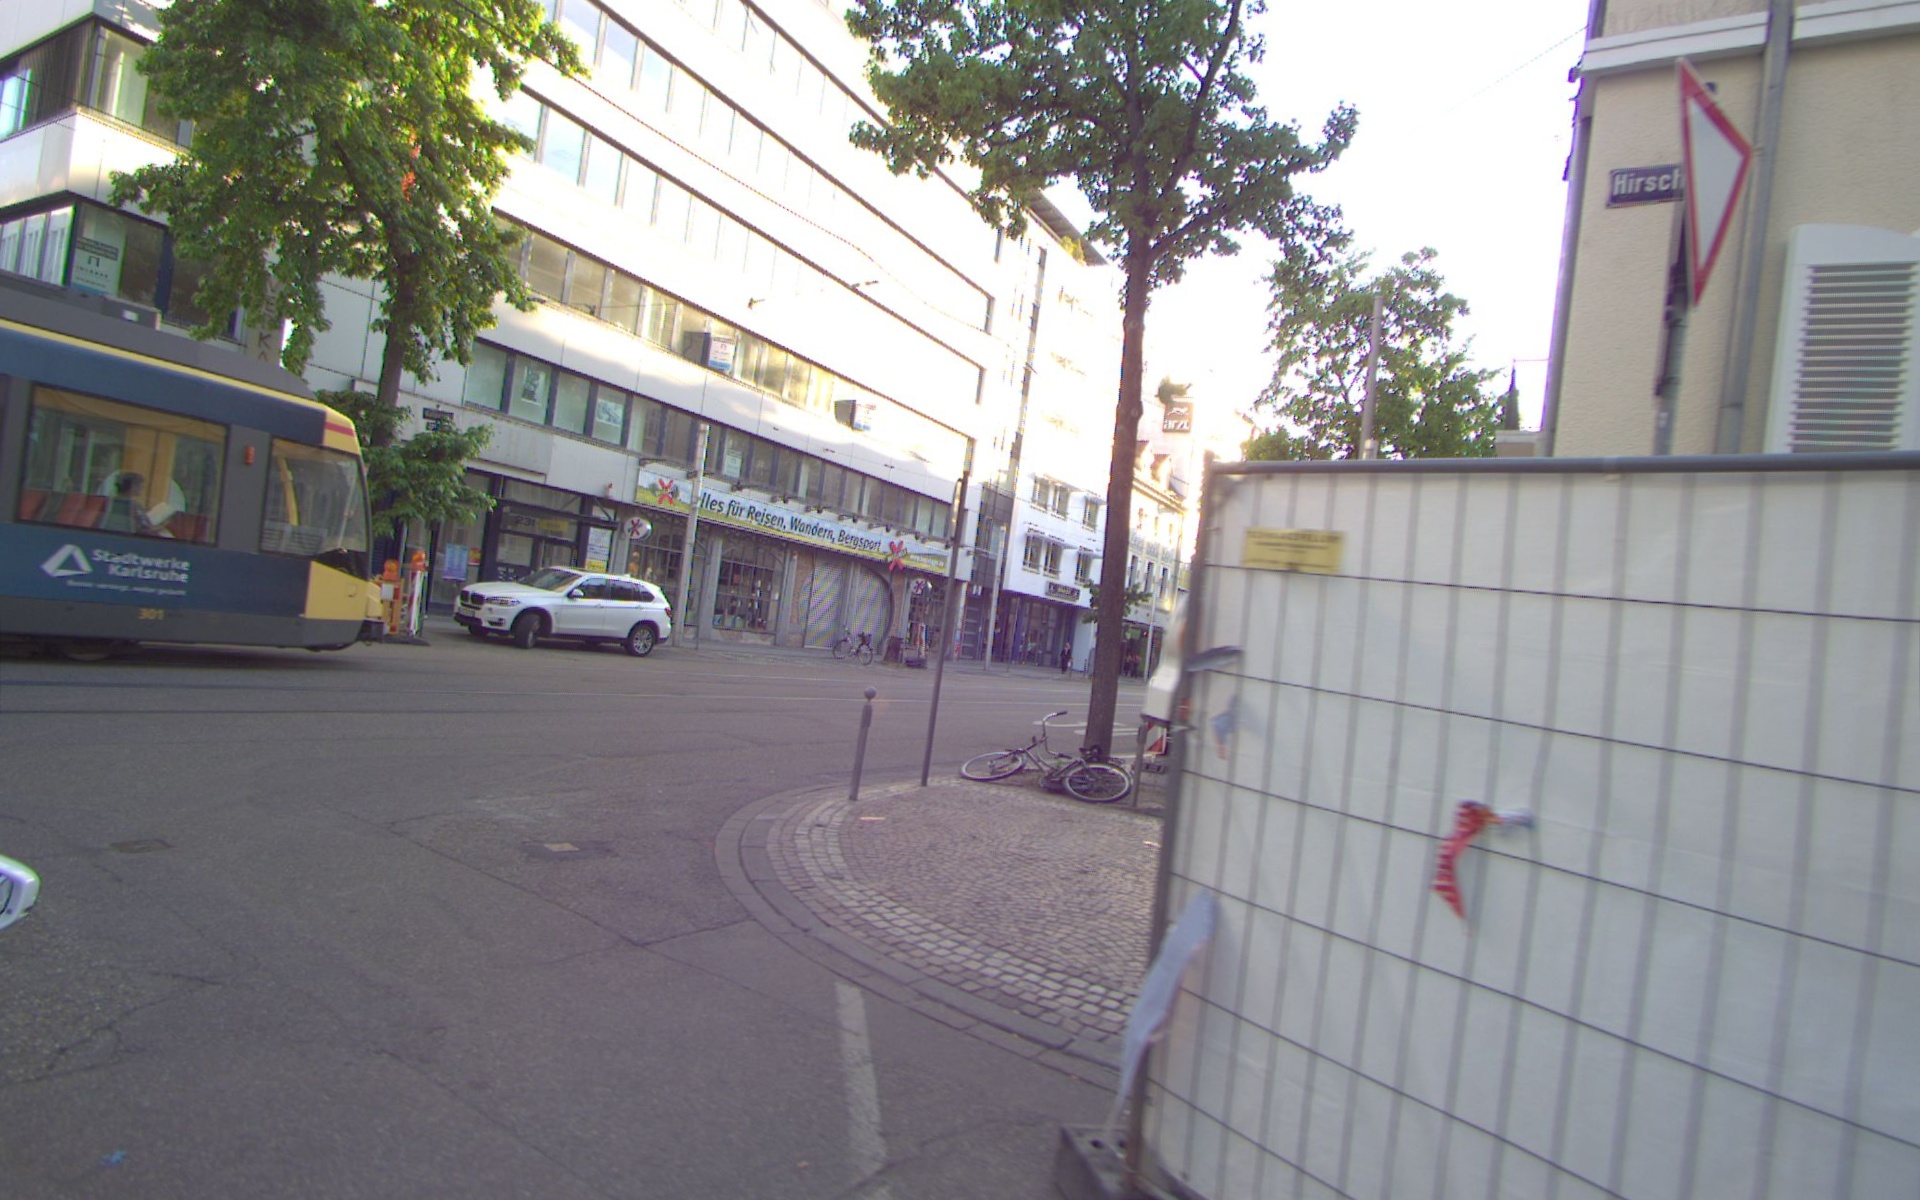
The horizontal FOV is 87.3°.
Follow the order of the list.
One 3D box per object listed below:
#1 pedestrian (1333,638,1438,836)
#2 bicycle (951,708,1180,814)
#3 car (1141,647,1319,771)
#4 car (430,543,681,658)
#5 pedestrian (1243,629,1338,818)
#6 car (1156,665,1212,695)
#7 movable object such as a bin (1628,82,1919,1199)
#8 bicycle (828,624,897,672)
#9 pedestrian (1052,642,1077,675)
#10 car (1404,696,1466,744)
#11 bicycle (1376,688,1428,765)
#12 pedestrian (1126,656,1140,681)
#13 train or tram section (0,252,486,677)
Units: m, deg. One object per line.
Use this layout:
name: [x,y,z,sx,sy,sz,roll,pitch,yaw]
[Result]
pedestrian: [4.452,1.397,10.504,0.747,1.907,0.878,5,-1,32]
bicycle: [1.133,1.644,10.637,2.040,0.714,1.330,6,-2,25]
car: [4.837,1.905,17.631,1.746,1.784,3.870,4,-3,34]
car: [-8.704,0.100,22.087,1.967,1.791,4.663,10,-1,33]
pedestrian: [3.573,1.308,10.861,0.669,1.907,0.768,5,-1,32]
car: [13.565,4.868,60.719,1.970,1.378,4.100,9,-1,31]
movable object such as a bin: [4.562,0.711,1.458,5.469,2.907,2.640,7,0,29]
bicycle: [-3.167,1.534,32.488,2.133,1.173,0.758,10,2,37]
pedestrian: [5.376,3.006,51.678,0.718,1.577,0.837,11,2,33]
car: [21.261,5.314,44.953,1.966,1.758,4.100,7,-2,31]
bicycle: [9.939,2.826,22.580,0.692,1.568,2.182,5,-3,30]
pedestrian: [10.950,4.337,63.603,0.470,1.566,0.746,7,0,31]
train or tram section: [-9.998,-1.411,8.885,2.976,3.565,10.356,7,-1,31]
